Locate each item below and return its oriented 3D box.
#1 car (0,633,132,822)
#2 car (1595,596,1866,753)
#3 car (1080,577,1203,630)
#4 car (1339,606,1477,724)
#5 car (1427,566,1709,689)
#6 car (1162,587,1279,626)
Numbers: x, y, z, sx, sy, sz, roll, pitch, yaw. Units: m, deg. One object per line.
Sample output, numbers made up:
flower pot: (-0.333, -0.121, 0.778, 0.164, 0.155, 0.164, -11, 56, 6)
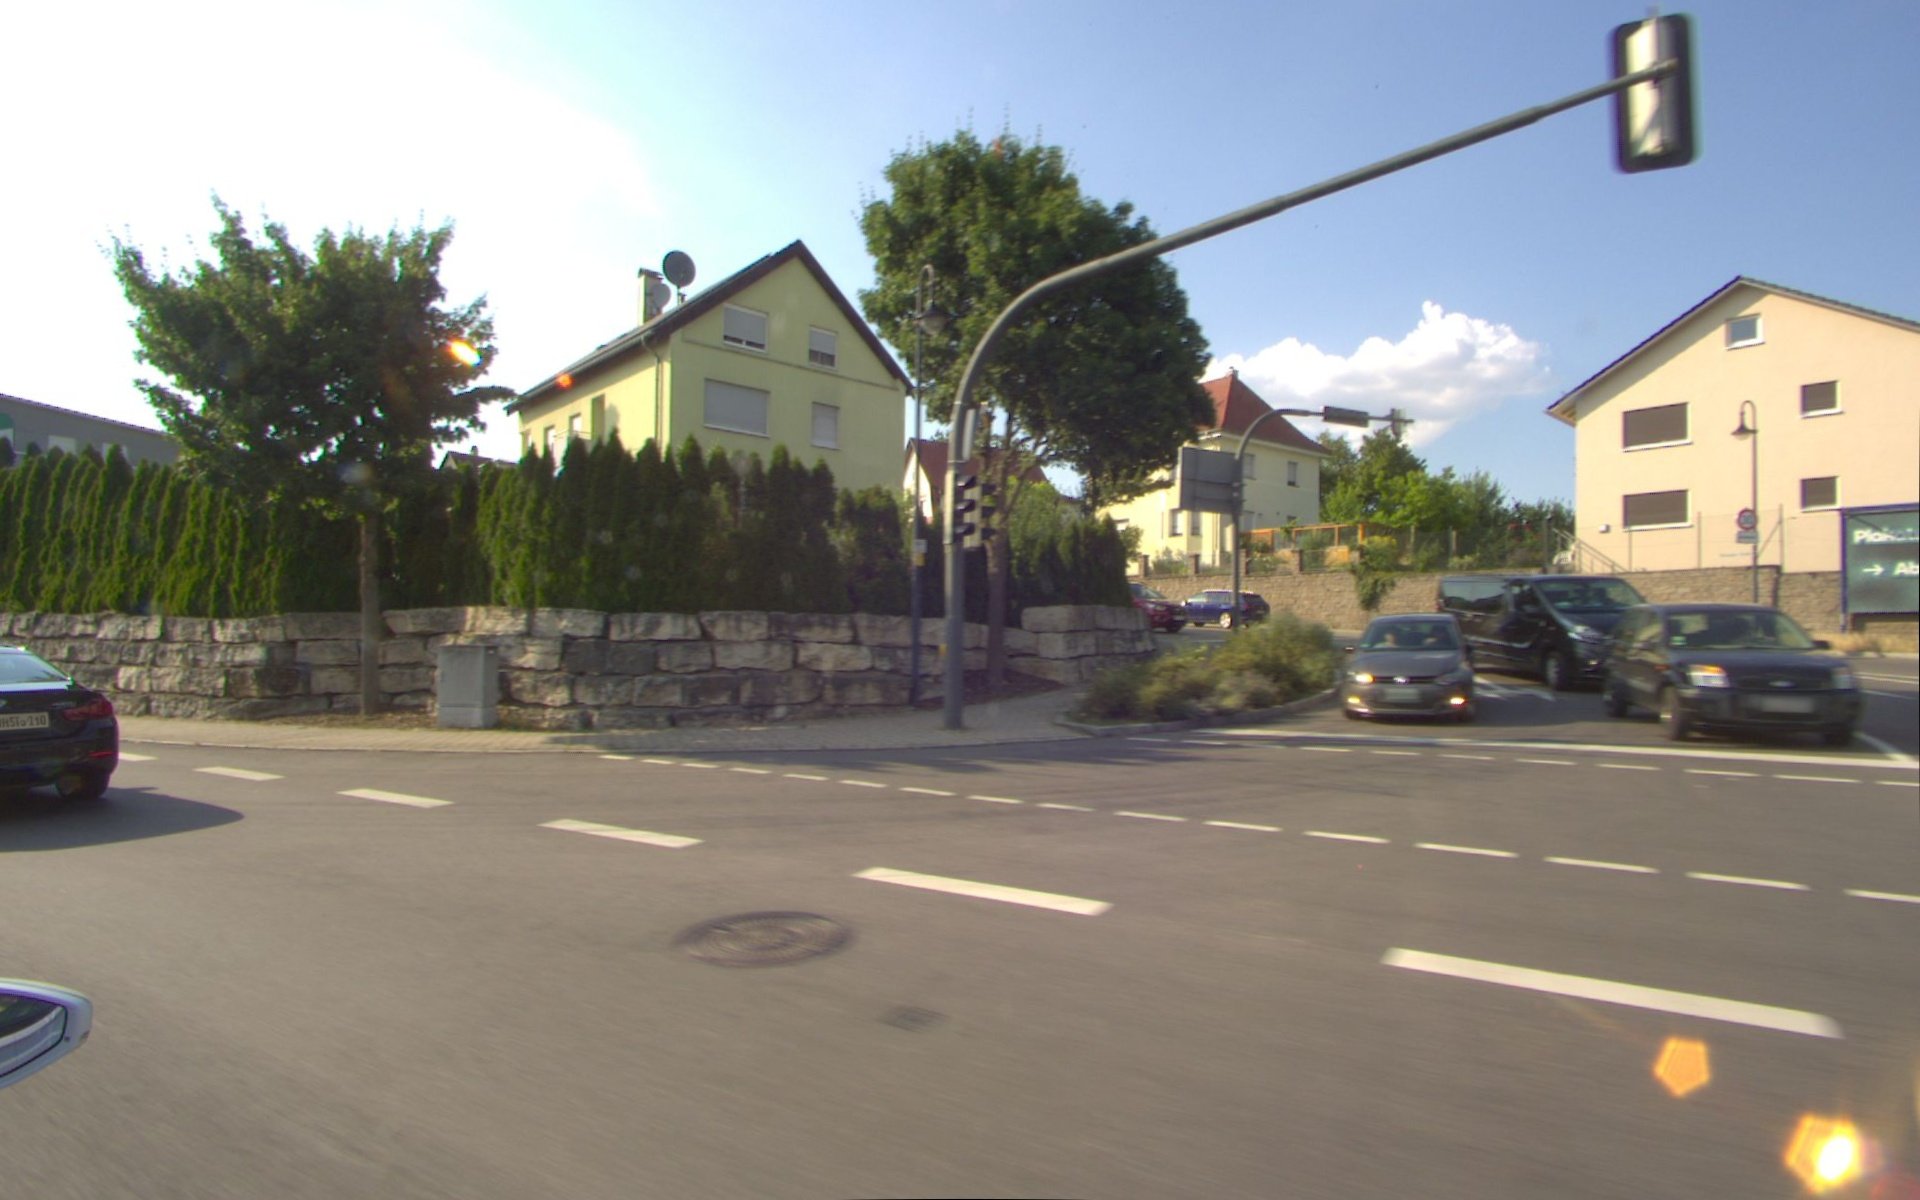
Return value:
car: (-9.112, 1.008, 8.718, 4.200, 1.387, 1.697, 0, 0, 32)
car: (8.969, 0.766, 12.020, 1.571, 1.562, 3.790, -1, -1, 21)
car: (6.060, 0.159, 33.830, 1.973, 1.664, 3.977, 1, -1, -32)
car: (6.693, 0.866, 14.773, 1.602, 1.469, 3.594, -1, 0, 28)
car: (10.884, 0.493, 18.526, 1.961, 1.957, 5.180, 0, -1, -2)
car: (10.106, 0.270, 39.060, 1.618, 1.429, 4.239, 0, -1, -42)
